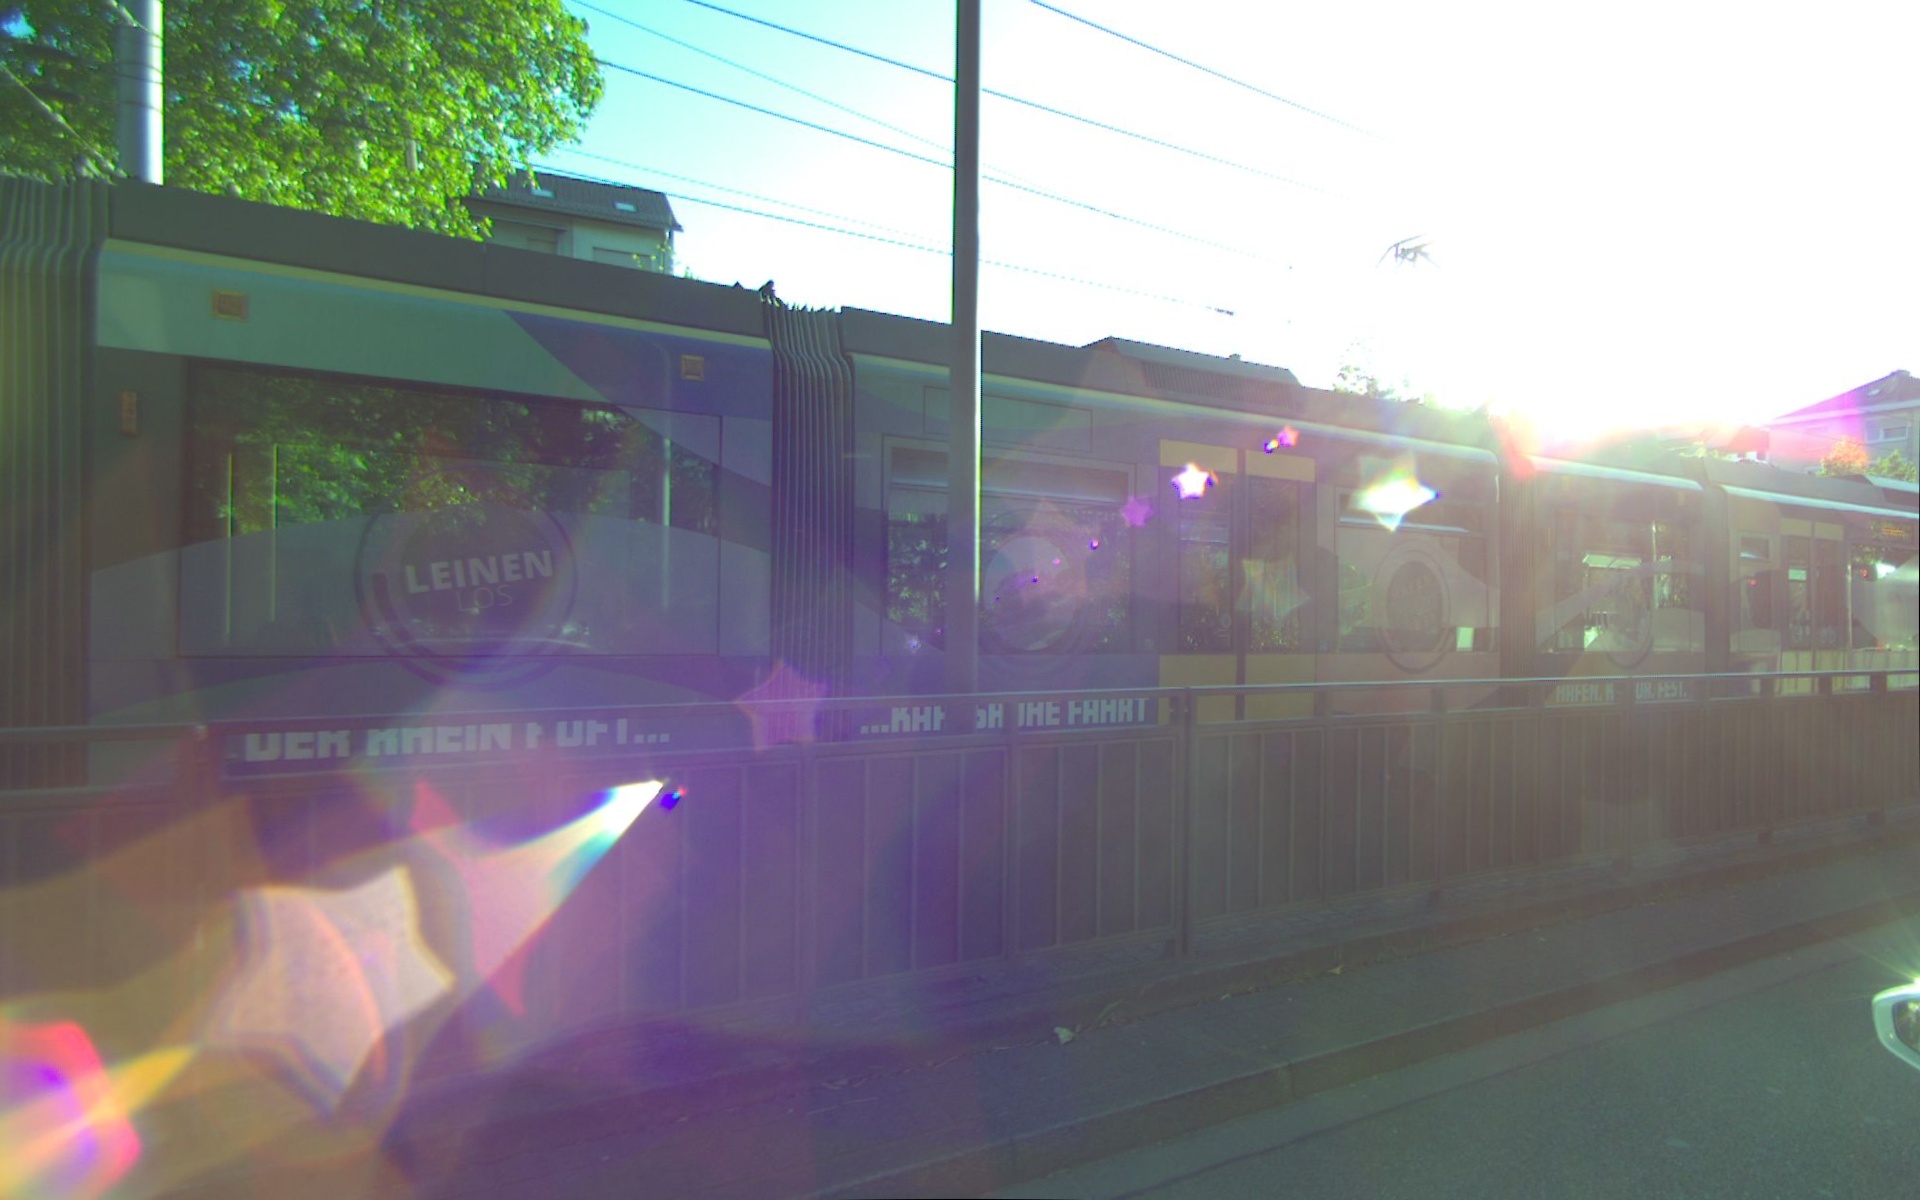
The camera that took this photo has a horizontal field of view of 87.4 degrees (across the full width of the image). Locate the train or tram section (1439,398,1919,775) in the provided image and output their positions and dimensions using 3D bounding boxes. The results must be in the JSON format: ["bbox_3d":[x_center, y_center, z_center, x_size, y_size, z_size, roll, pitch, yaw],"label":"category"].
[{"bbox_3d":[12.036,0.021,13.809,13.168,3.566,2.630,1,-1,-29],"label":"train or tram section"}]

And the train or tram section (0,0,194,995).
[{"bbox_3d":[-9.875,-0.503,1.713,13.230,3.580,2.838,1,-1,-29],"label":"train or tram section"}]

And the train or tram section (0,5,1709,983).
[{"bbox_3d":[0.890,-0.257,7.660,12.626,3.596,2.717,1,-1,-29],"label":"train or tram section"}]
